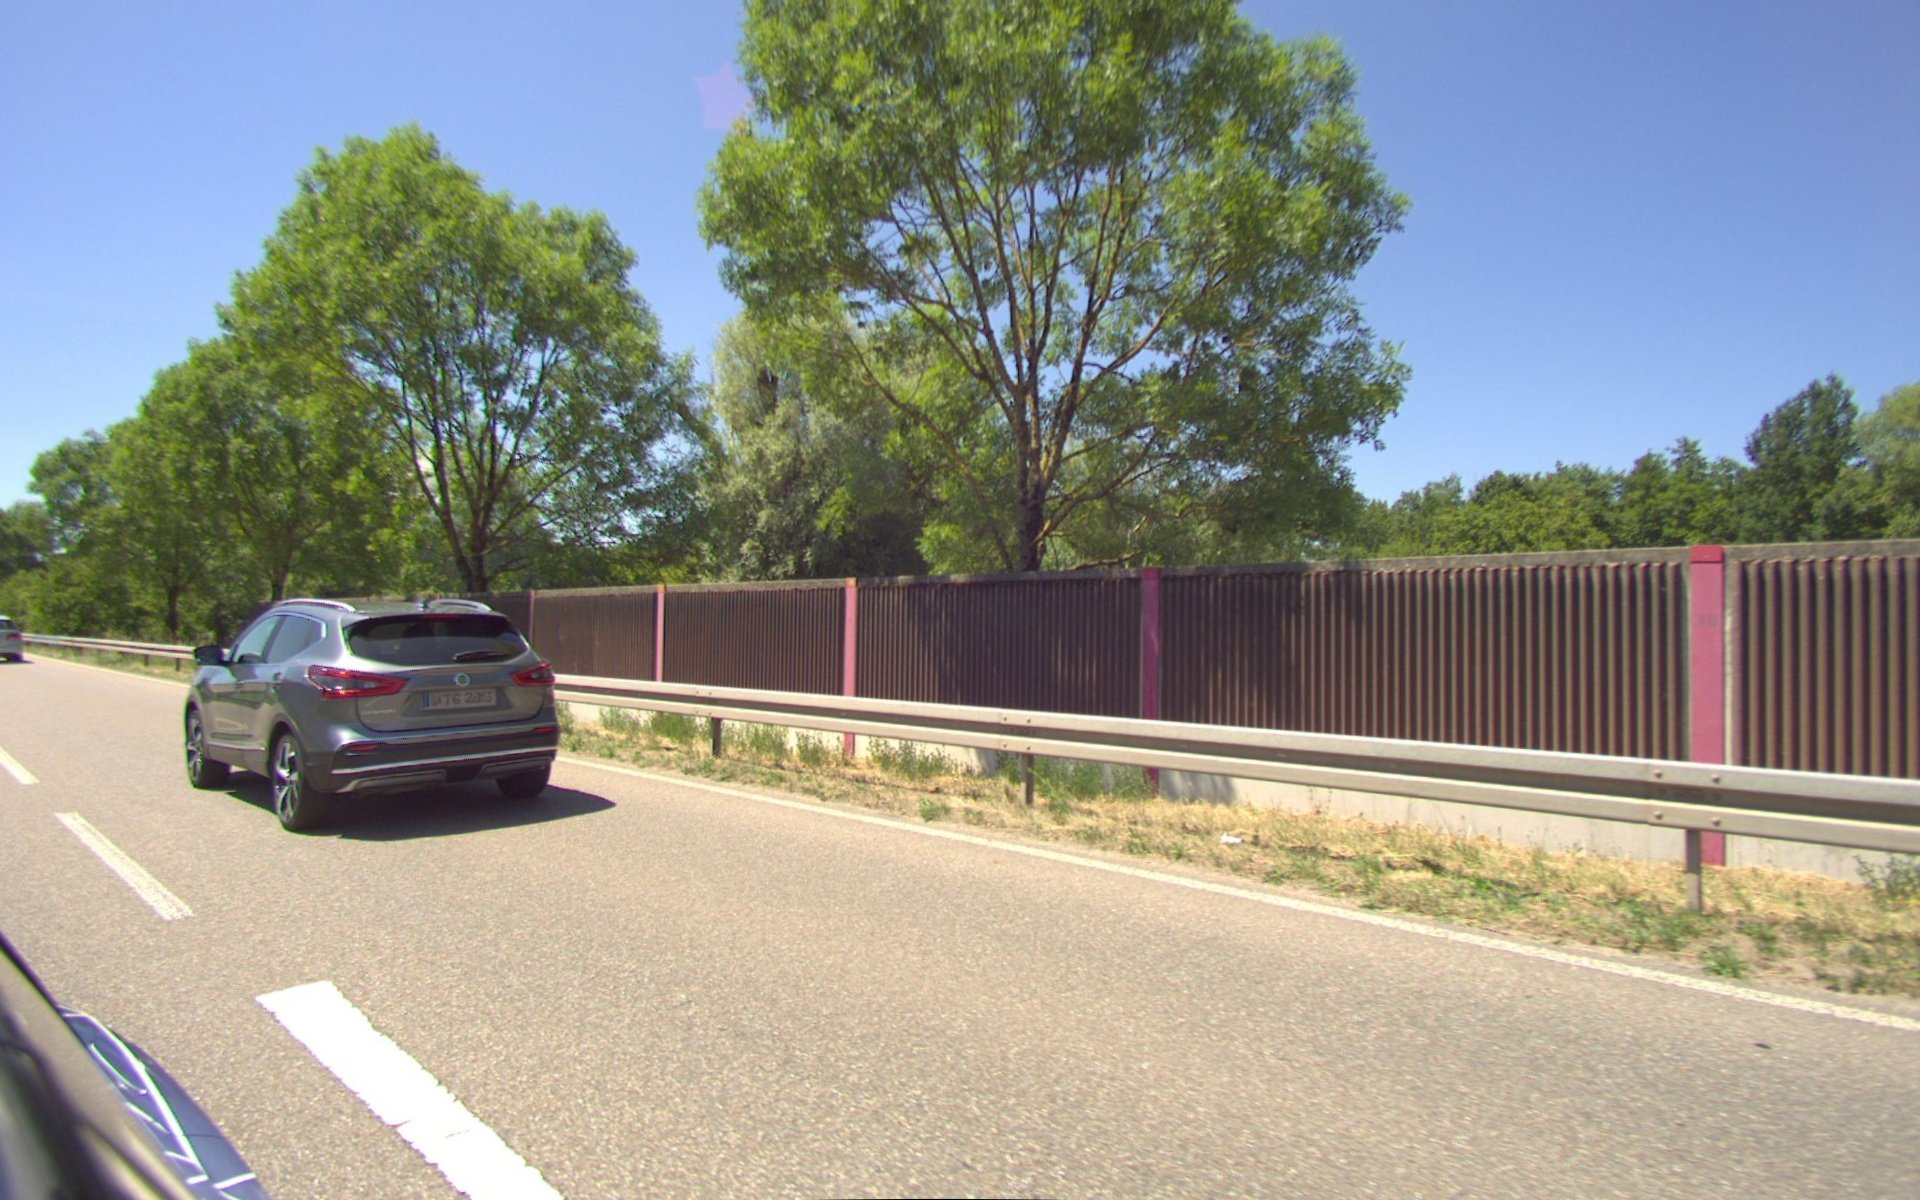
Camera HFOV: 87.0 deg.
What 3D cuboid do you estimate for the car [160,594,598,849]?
[{"bbox_3d":[-4.889,0.778,8.227,4.388,1.537,1.771,-1,-1,41],"label":"car"}]

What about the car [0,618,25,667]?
[{"bbox_3d":[-32.222,1.372,33.104,4.385,1.537,1.772,-1,-1,39],"label":"car"}]
